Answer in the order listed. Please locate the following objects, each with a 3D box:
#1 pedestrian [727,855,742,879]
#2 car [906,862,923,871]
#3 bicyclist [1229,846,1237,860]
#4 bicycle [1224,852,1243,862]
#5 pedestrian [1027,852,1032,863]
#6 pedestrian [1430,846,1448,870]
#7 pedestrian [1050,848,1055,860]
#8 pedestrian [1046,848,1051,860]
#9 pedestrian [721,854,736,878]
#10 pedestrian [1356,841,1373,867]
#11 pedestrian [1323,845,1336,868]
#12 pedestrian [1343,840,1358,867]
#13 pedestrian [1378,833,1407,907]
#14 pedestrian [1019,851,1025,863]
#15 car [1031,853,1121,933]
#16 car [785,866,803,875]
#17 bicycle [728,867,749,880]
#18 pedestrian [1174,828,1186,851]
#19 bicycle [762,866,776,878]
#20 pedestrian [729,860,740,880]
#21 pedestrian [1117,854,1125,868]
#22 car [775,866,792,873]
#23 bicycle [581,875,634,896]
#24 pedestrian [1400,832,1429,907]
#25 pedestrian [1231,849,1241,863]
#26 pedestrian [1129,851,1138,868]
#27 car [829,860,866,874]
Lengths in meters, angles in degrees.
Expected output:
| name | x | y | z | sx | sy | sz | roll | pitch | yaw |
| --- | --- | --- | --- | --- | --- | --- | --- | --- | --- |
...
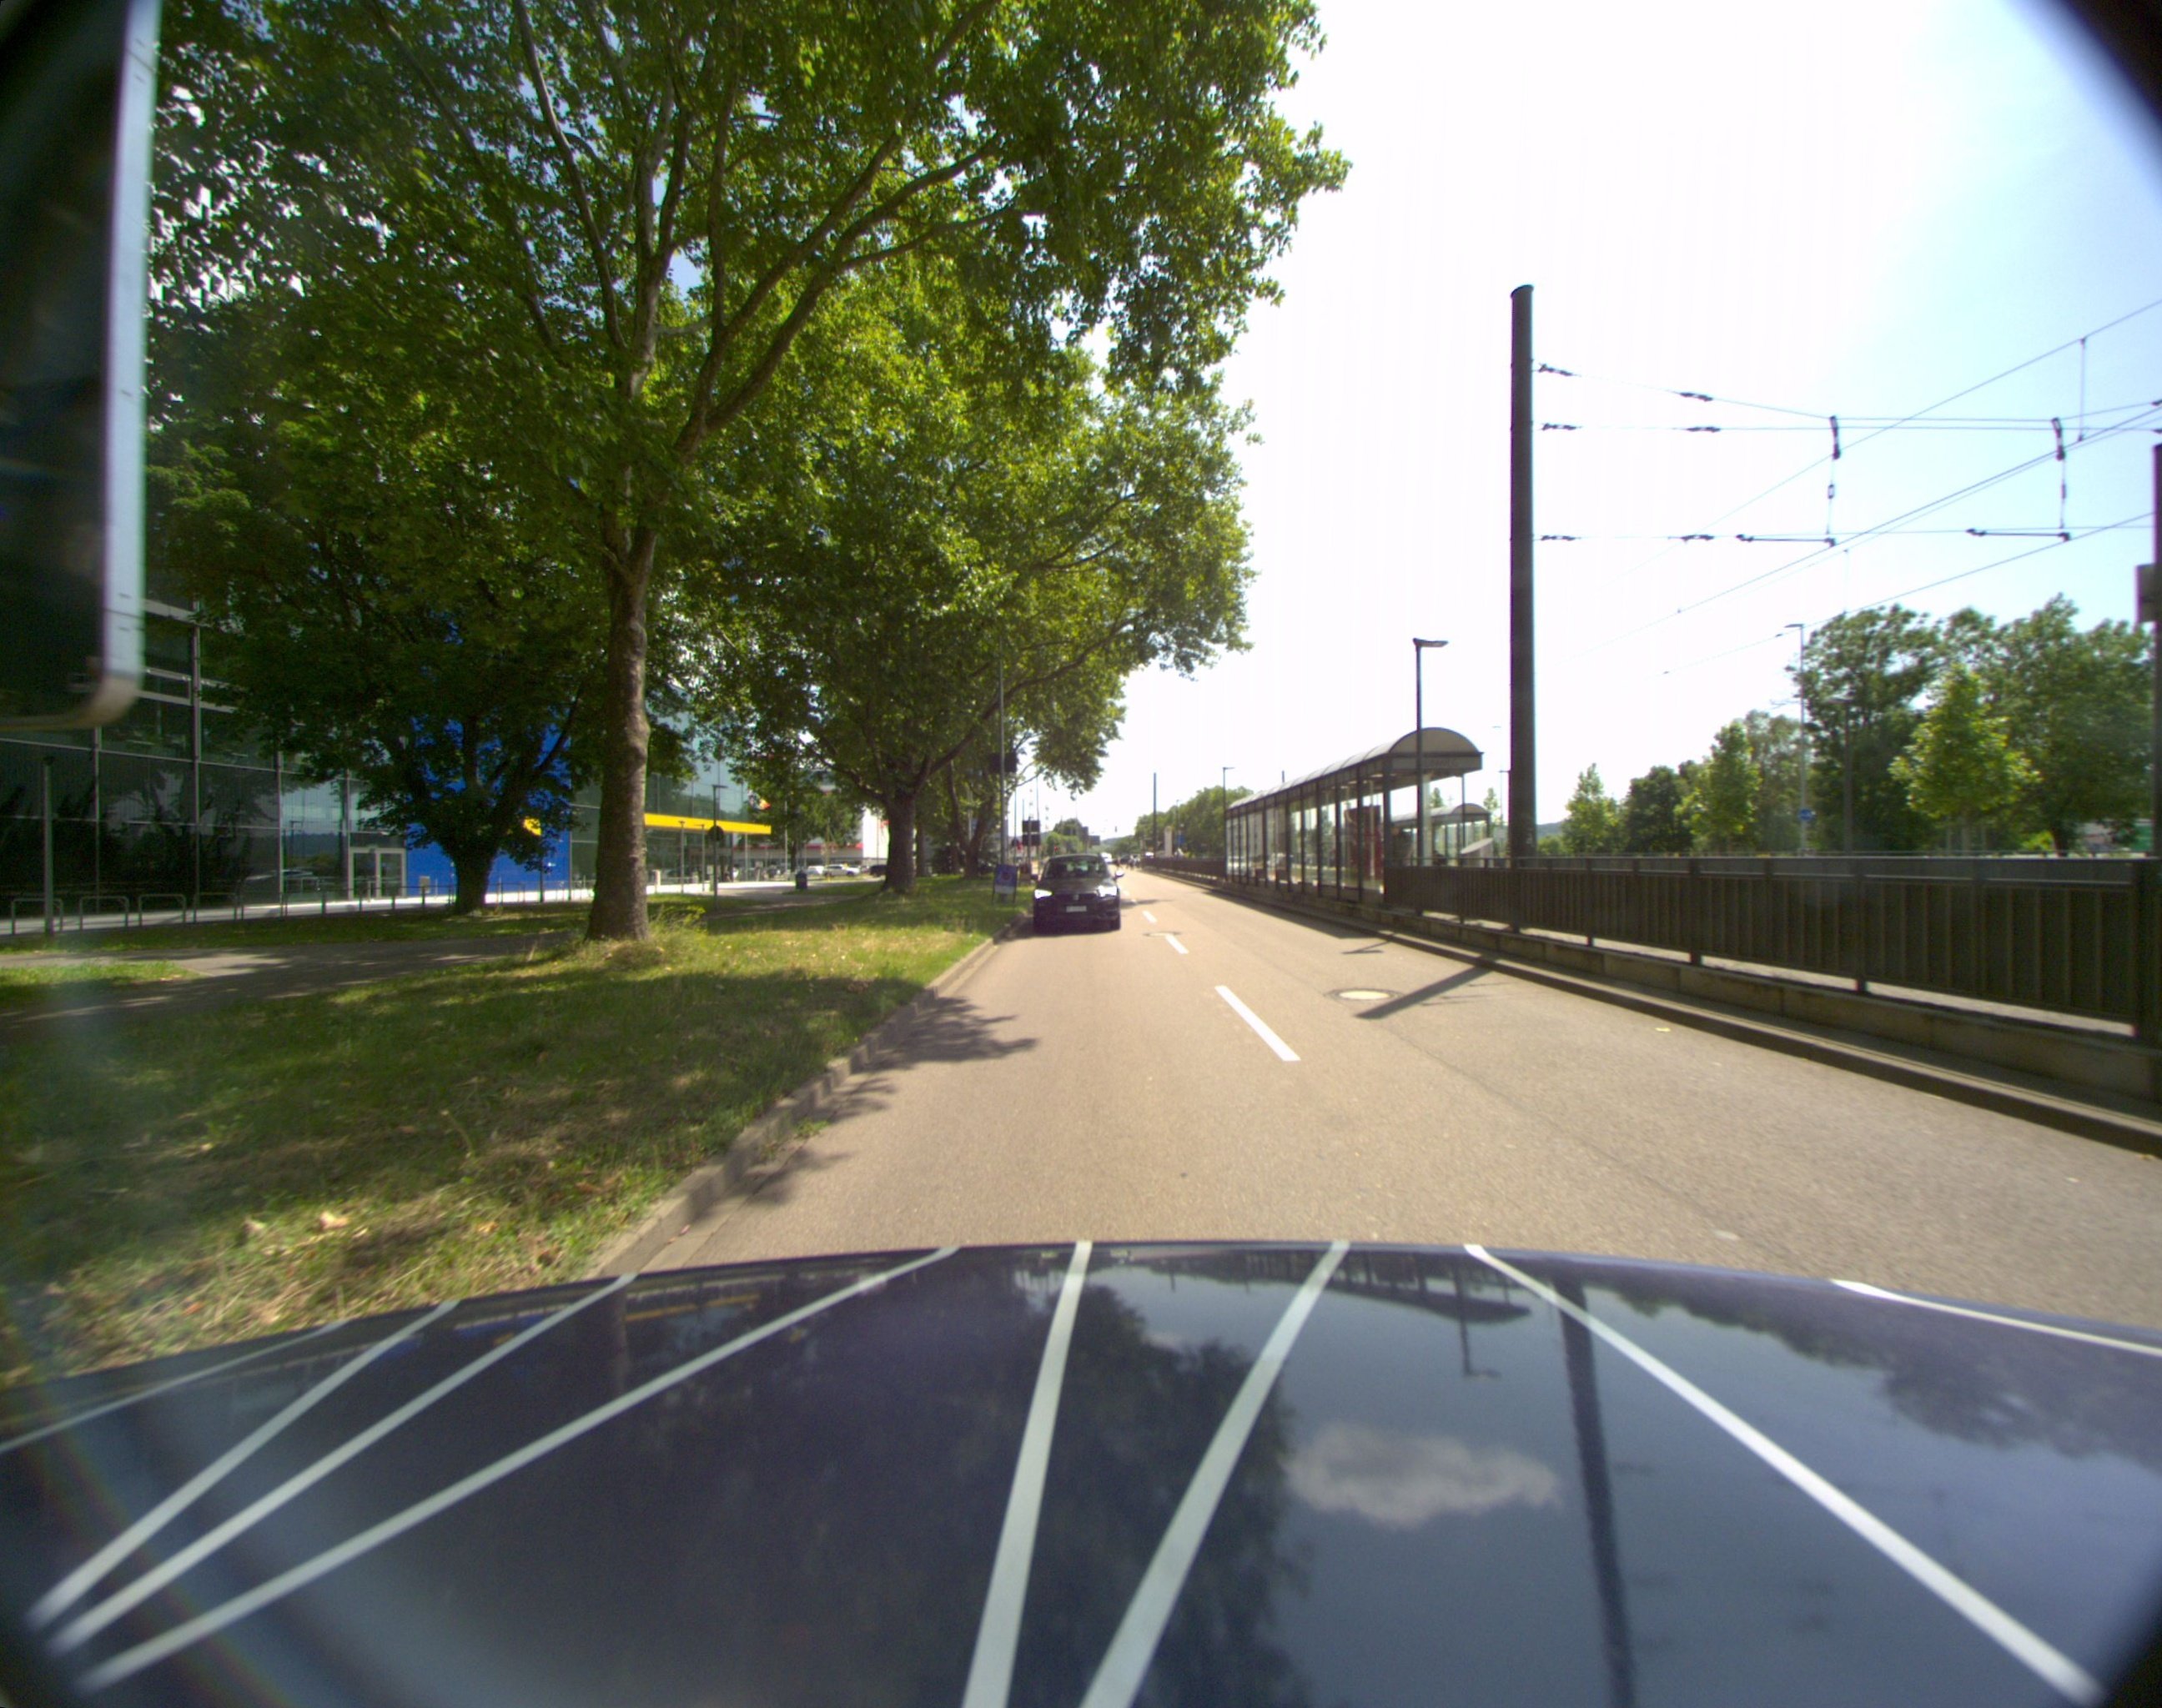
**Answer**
| name | x | y | z | sx | sy | sz | roll | pitch | yaw |
| --- | --- | --- | --- | --- | --- | --- | --- | --- | --- |
| pedestrian | -30.011 | 1.103 | 65.839 | 0.798 | 2.002 | 0.733 | -2 | 0 | 9 |
| car | -33.828 | 2.524 | 154.311 | 1.998 | 1.707 | 4.503 | -3 | 1 | 4 |
| bicyclist | 17.801 | -0.066 | 89.033 | 0.666 | 1.605 | 0.732 | -3 | 1 | -15 |
| bicycle | 17.860 | 0.328 | 89.054 | 1.979 | 1.094 | 0.763 | -2 | 1 | -14 |
| pedestrian | -8.164 | 0.553 | 121.011 | 0.806 | 1.749 | 0.797 | -1 | 1 | -5 |
| pedestrian | 17.841 | 0.193 | 37.882 | 0.578 | 1.183 | 0.639 | -1 | 0 | 2 |
| pedestrian | -3.739 | -0.002 | 101.092 | 0.528 | 1.656 | 0.640 | -2 | 1 | 5 |
| pedestrian | -4.374 | 0.028 | 101.096 | 0.528 | 1.570 | 0.612 | -2 | 1 | 5 |
| pedestrian | -30.164 | 1.026 | 65.005 | 0.798 | 2.002 | 0.733 | -2 | 0 | 13 |
| pedestrian | 17.997 | 0.017 | 48.200 | 0.826 | 1.629 | 0.579 | -1 | 0 | 38 |
| pedestrian | 17.979 | 0.170 | 54.927 | 0.558 | 1.628 | 0.806 | -2 | 0 | -6 |
| pedestrian | 17.634 | -0.027 | 49.650 | 0.736 | 1.719 | 0.579 | -1 | 0 | 38 |
| pedestrian | 6.460 | 0.329 | 15.759 | 0.396 | 1.499 | 0.417 | -2 | 2 | -40 |
| pedestrian | -9.378 | 0.527 | 120.848 | 0.805 | 1.854 | 0.798 | -2 | 1 | 6 |
| car | -0.061 | 0.828 | 18.017 | 1.819 | 1.583 | 4.000 | -3 | 0 | 1 |
| car | -52.433 | 3.005 | 138.881 | 1.853 | 1.537 | 3.999 | -2 | 0 | -2 |
| bicycle | -33.740 | 1.887 | 74.836 | 0.802 | 1.192 | 2.433 | -3 | 1 | 2 |
| pedestrian | 7.155 | -1.058 | 54.869 | 0.734 | 1.656 | 0.742 | -2 | 0 | 0 |
| bicycle | -30.888 | 1.815 | 75.248 | 0.803 | 1.138 | 2.430 | -2 | 0 | -12 |
| pedestrian | -30.062 | 1.400 | 65.887 | 0.607 | 1.662 | 0.587 | -2 | 1 | 12 |
| pedestrian | 4.519 | 0.741 | 86.076 | 0.787 | 1.563 | 0.764 | -2 | 1 | -2 |
| car | -60.868 | 3.076 | 155.282 | 1.693 | 1.302 | 4.000 | -2 | 0 | 2 |
| bicycle | -23.683 | 1.586 | 38.011 | 2.065 | 0.963 | 0.868 | -2 | 0 | -3 |
| pedestrian | 6.802 | 0.316 | 15.491 | 0.396 | 1.499 | 0.417 | -2 | 2 | -40 |
| pedestrian | 17.952 | 0.202 | 88.037 | 0.959 | 1.600 | 0.764 | -2 | 0 | -1 |
| pedestrian | 5.614 | 0.589 | 81.460 | 0.865 | 1.791 | 0.883 | -2 | 1 | -3 |
| car | -30.180 | 1.640 | 98.338 | 4.079 | 1.630 | 2.000 | -1 | 0 | -1 |
